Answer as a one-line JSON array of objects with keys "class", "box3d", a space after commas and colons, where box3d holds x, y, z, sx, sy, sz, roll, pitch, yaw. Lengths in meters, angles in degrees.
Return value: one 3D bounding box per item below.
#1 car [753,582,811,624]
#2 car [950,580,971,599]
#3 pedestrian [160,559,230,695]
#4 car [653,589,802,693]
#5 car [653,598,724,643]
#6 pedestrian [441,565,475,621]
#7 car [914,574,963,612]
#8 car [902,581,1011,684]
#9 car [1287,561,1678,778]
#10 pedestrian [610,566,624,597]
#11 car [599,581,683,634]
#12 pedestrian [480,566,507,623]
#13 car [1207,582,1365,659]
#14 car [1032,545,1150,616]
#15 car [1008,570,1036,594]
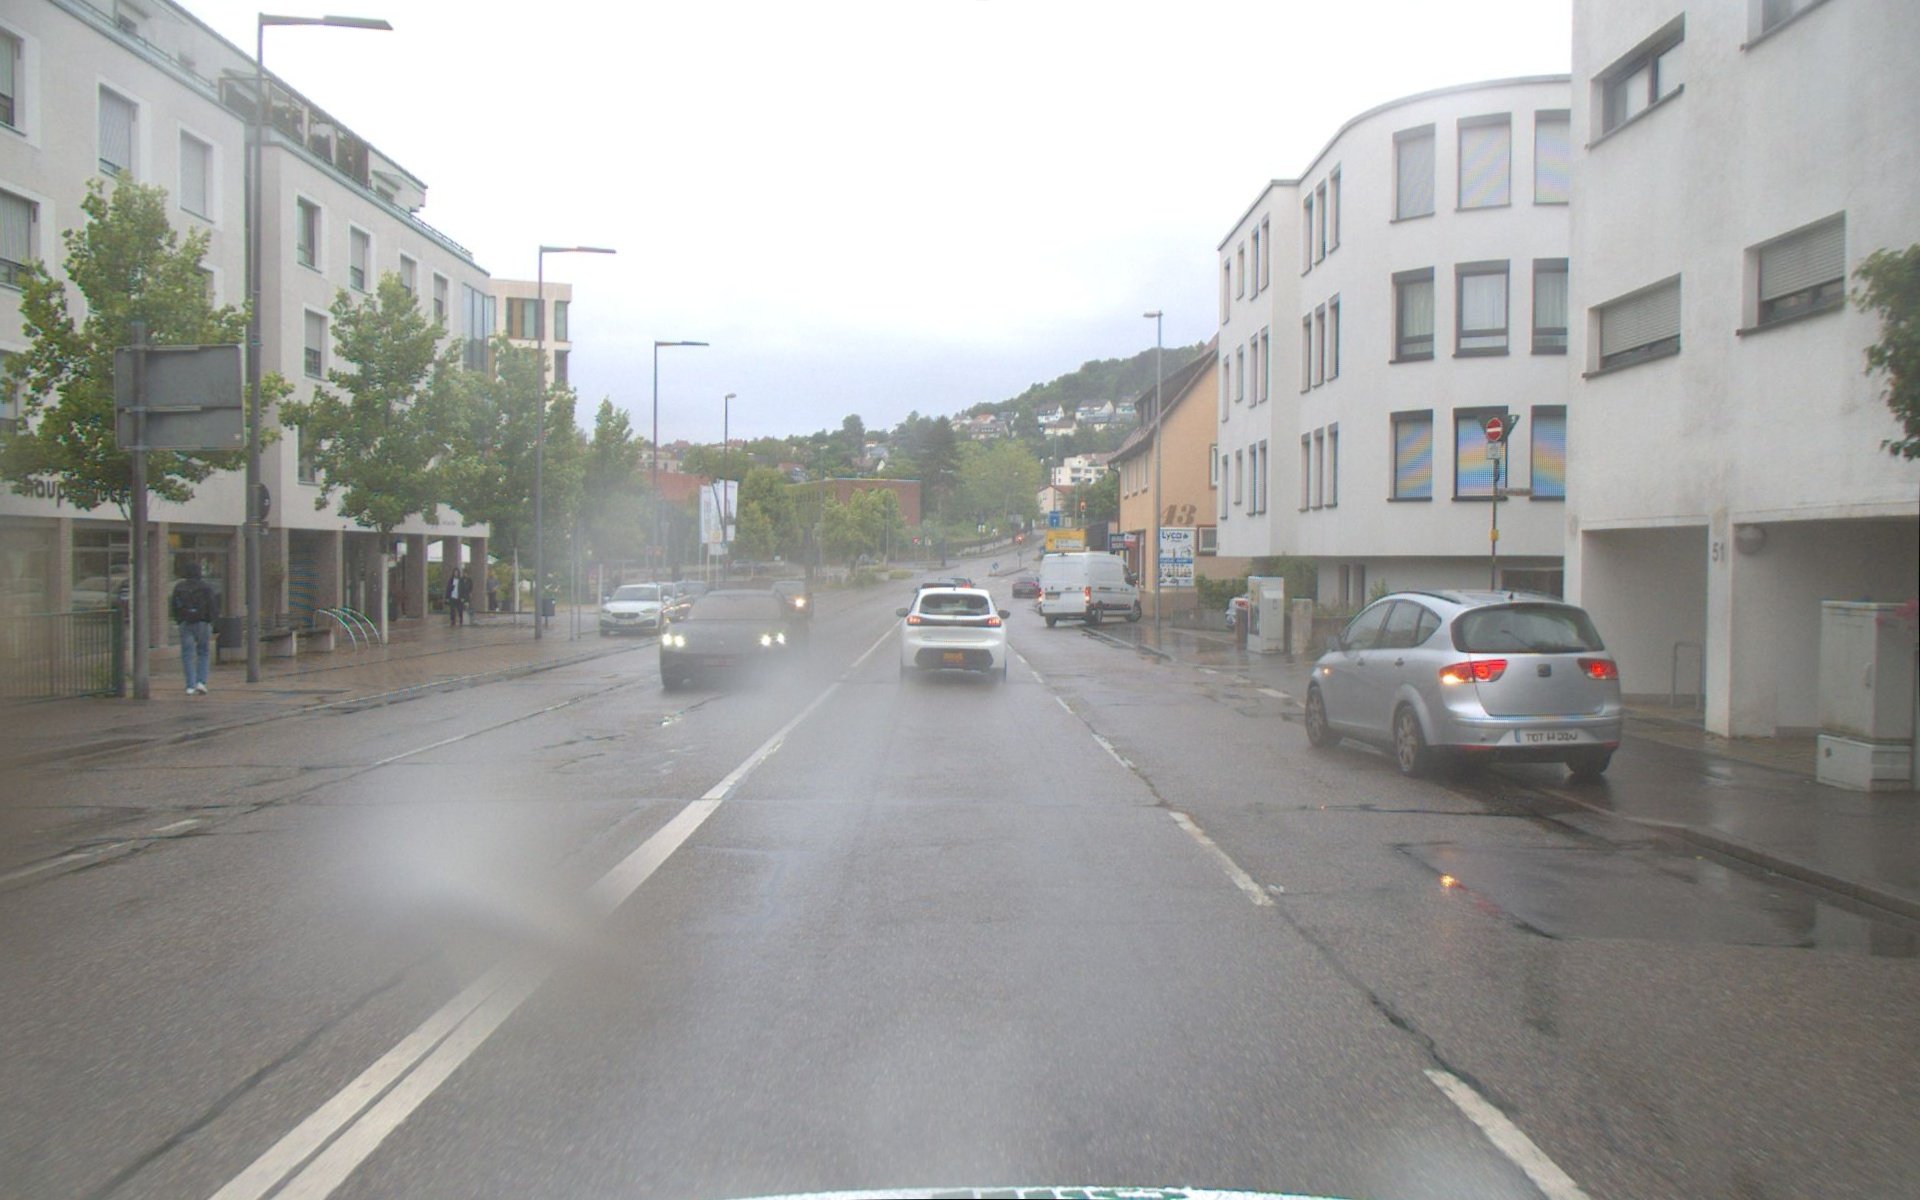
[{"class": "car", "box3d": [-6.877, 0.142, 64.235, 1.842, 1.550, 4.183, -1, -1, -1]}, {"class": "car", "box3d": [0.010, -0.645, 103.479, 1.188, 1.176, 2.269, 0, -1, -3]}, {"class": "pedestrian", "box3d": [-10.475, 0.365, 22.667, 0.789, 1.819, 0.877, 0, -1, -20]}, {"class": "car", "box3d": [-3.495, 0.600, 25.608, 1.732, 1.438, 4.524, -1, -1, -1]}, {"class": "car", "box3d": [-9.894, 0.739, 60.544, 1.656, 1.536, 4.578, -1, -1, 2]}, {"class": "pedestrian", "box3d": [-16.140, -0.214, 53.225, 0.792, 1.768, 1.003, -1, -1, -1]}, {"class": "car", "box3d": [-0.765, -0.264, 60.804, 1.705, 1.318, 3.334, -1, 1, 0]}, {"class": "car", "box3d": [-0.057, 0.514, 27.006, 1.656, 1.546, 3.932, 0, -1, 0]}, {"class": "car", "box3d": [4.468, 0.598, 14.927, 1.971, 1.650, 4.358, 1, -2, -3]}, {"class": "pedestrian", "box3d": [-19.477, -1.044, 93.906, 0.769, 1.776, 0.671, 0, -1, -15]}, {"class": "car", "box3d": [-9.284, 0.228, 48.450, 1.759, 1.488, 4.476, 0, -1, -2]}, {"class": "pedestrian", "box3d": [-17.829, -0.209, 63.216, 0.731, 2.182, 0.771, 0, -1, 5]}, {"class": "car", "box3d": [8.662, 0.526, 44.124, 3.716, 1.556, 1.820, 7, 1, -2]}, {"class": "car", "box3d": [4.851, -0.648, 60.149, 2.245, 2.424, 6.622, -1, -1, 23]}, {"class": "car", "box3d": [4.302, -1.235, 114.753, 1.699, 1.411, 3.353, 1, 4, -2]}]
